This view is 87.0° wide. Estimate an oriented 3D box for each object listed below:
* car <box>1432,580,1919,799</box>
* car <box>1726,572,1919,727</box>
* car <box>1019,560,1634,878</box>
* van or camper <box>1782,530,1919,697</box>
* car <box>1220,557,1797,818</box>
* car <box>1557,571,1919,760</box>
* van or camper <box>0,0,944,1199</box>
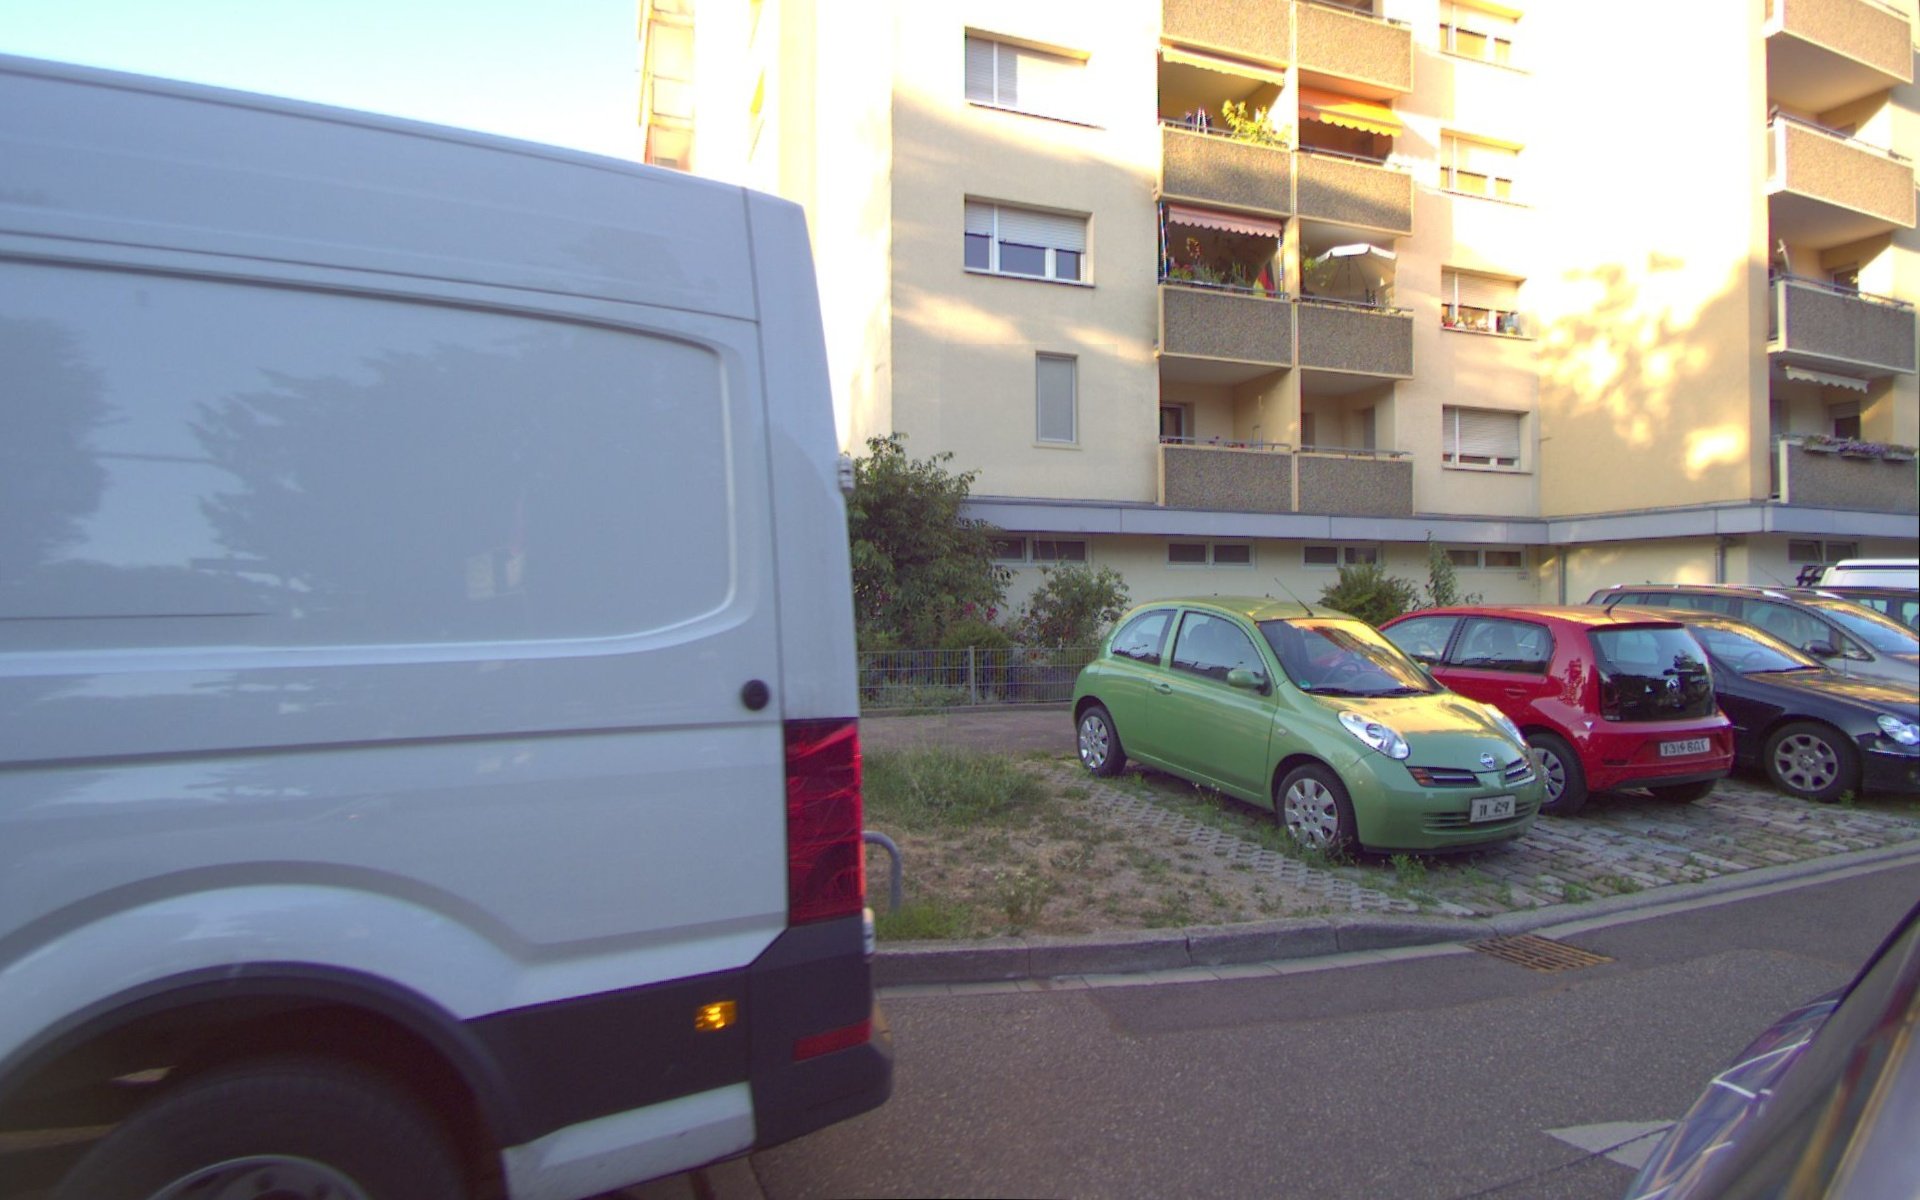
[{"bbox_3d":[6.976,0.611,9.560,1.808,1.550,4.426,-2,2,-25],"label":"car"},{"bbox_3d":[11.715,0.573,11.608,1.745,1.681,4.349,-2,3,-25],"label":"car"},{"bbox_3d":[2.330,0.588,7.764,1.808,1.651,4.425,-2,2,-25],"label":"car"},{"bbox_3d":[13.995,0.225,12.818,1.998,2.194,5.161,-1,3,-25],"label":"van or camper"},{"bbox_3d":[4.450,0.499,9.148,1.807,1.651,4.430,0,4,-21],"label":"car"},{"bbox_3d":[9.224,0.575,11.033,1.808,1.681,4.427,-2,3,-25],"label":"car"},{"bbox_3d":[-3.345,0.267,2.014,6.268,2.652,2.003,-1,-1,-20],"label":"van or camper"}]
